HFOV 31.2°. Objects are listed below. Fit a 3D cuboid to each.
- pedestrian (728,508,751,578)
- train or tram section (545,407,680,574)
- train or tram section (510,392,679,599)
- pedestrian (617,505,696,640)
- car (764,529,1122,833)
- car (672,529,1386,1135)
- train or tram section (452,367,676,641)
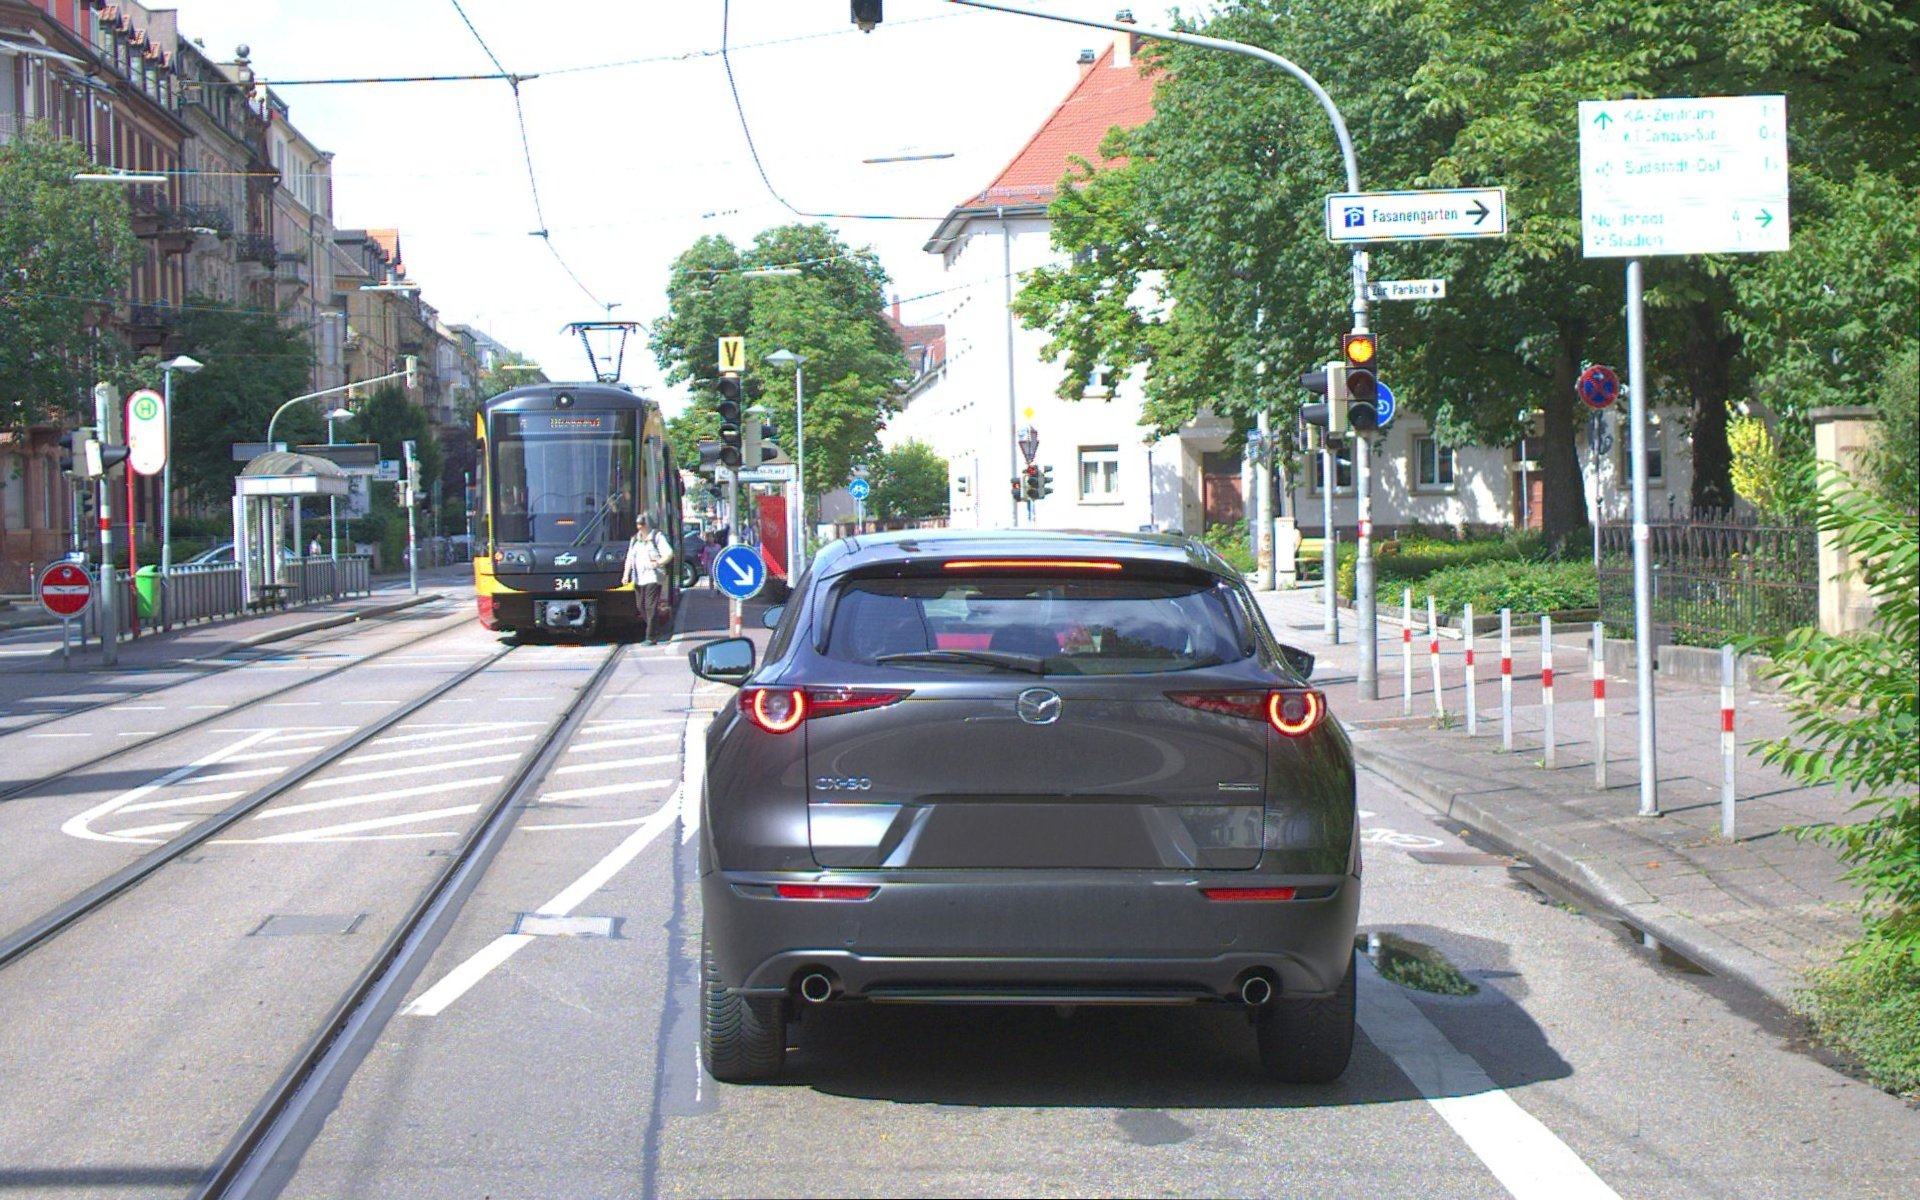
[{"bbox_3d":[-4.576,-1.186,71.313,0.450,1.429,0.474,-1,1,-5],"label":"pedestrian"},{"bbox_3d":[-7.980,-2.603,80.329,2.752,3.478,14.411,-1,2,-4],"label":"train or tram section"},{"bbox_3d":[-6.841,-2.059,65.985,2.752,3.478,14.411,-1,2,-4],"label":"train or tram section"},{"bbox_3d":[-3.891,-0.353,44.049,0.717,1.699,0.824,-2,1,-26],"label":"pedestrian"},{"bbox_3d":[-0.115,0.366,19.276,1.778,1.494,4.000,1,1,-1],"label":"car"},{"bbox_3d":[0.143,0.545,10.670,1.778,1.494,4.000,1,1,-1],"label":"car"},{"bbox_3d":[-5.708,-1.516,51.625,2.752,3.478,14.411,-1,2,-4],"label":"train or tram section"}]
